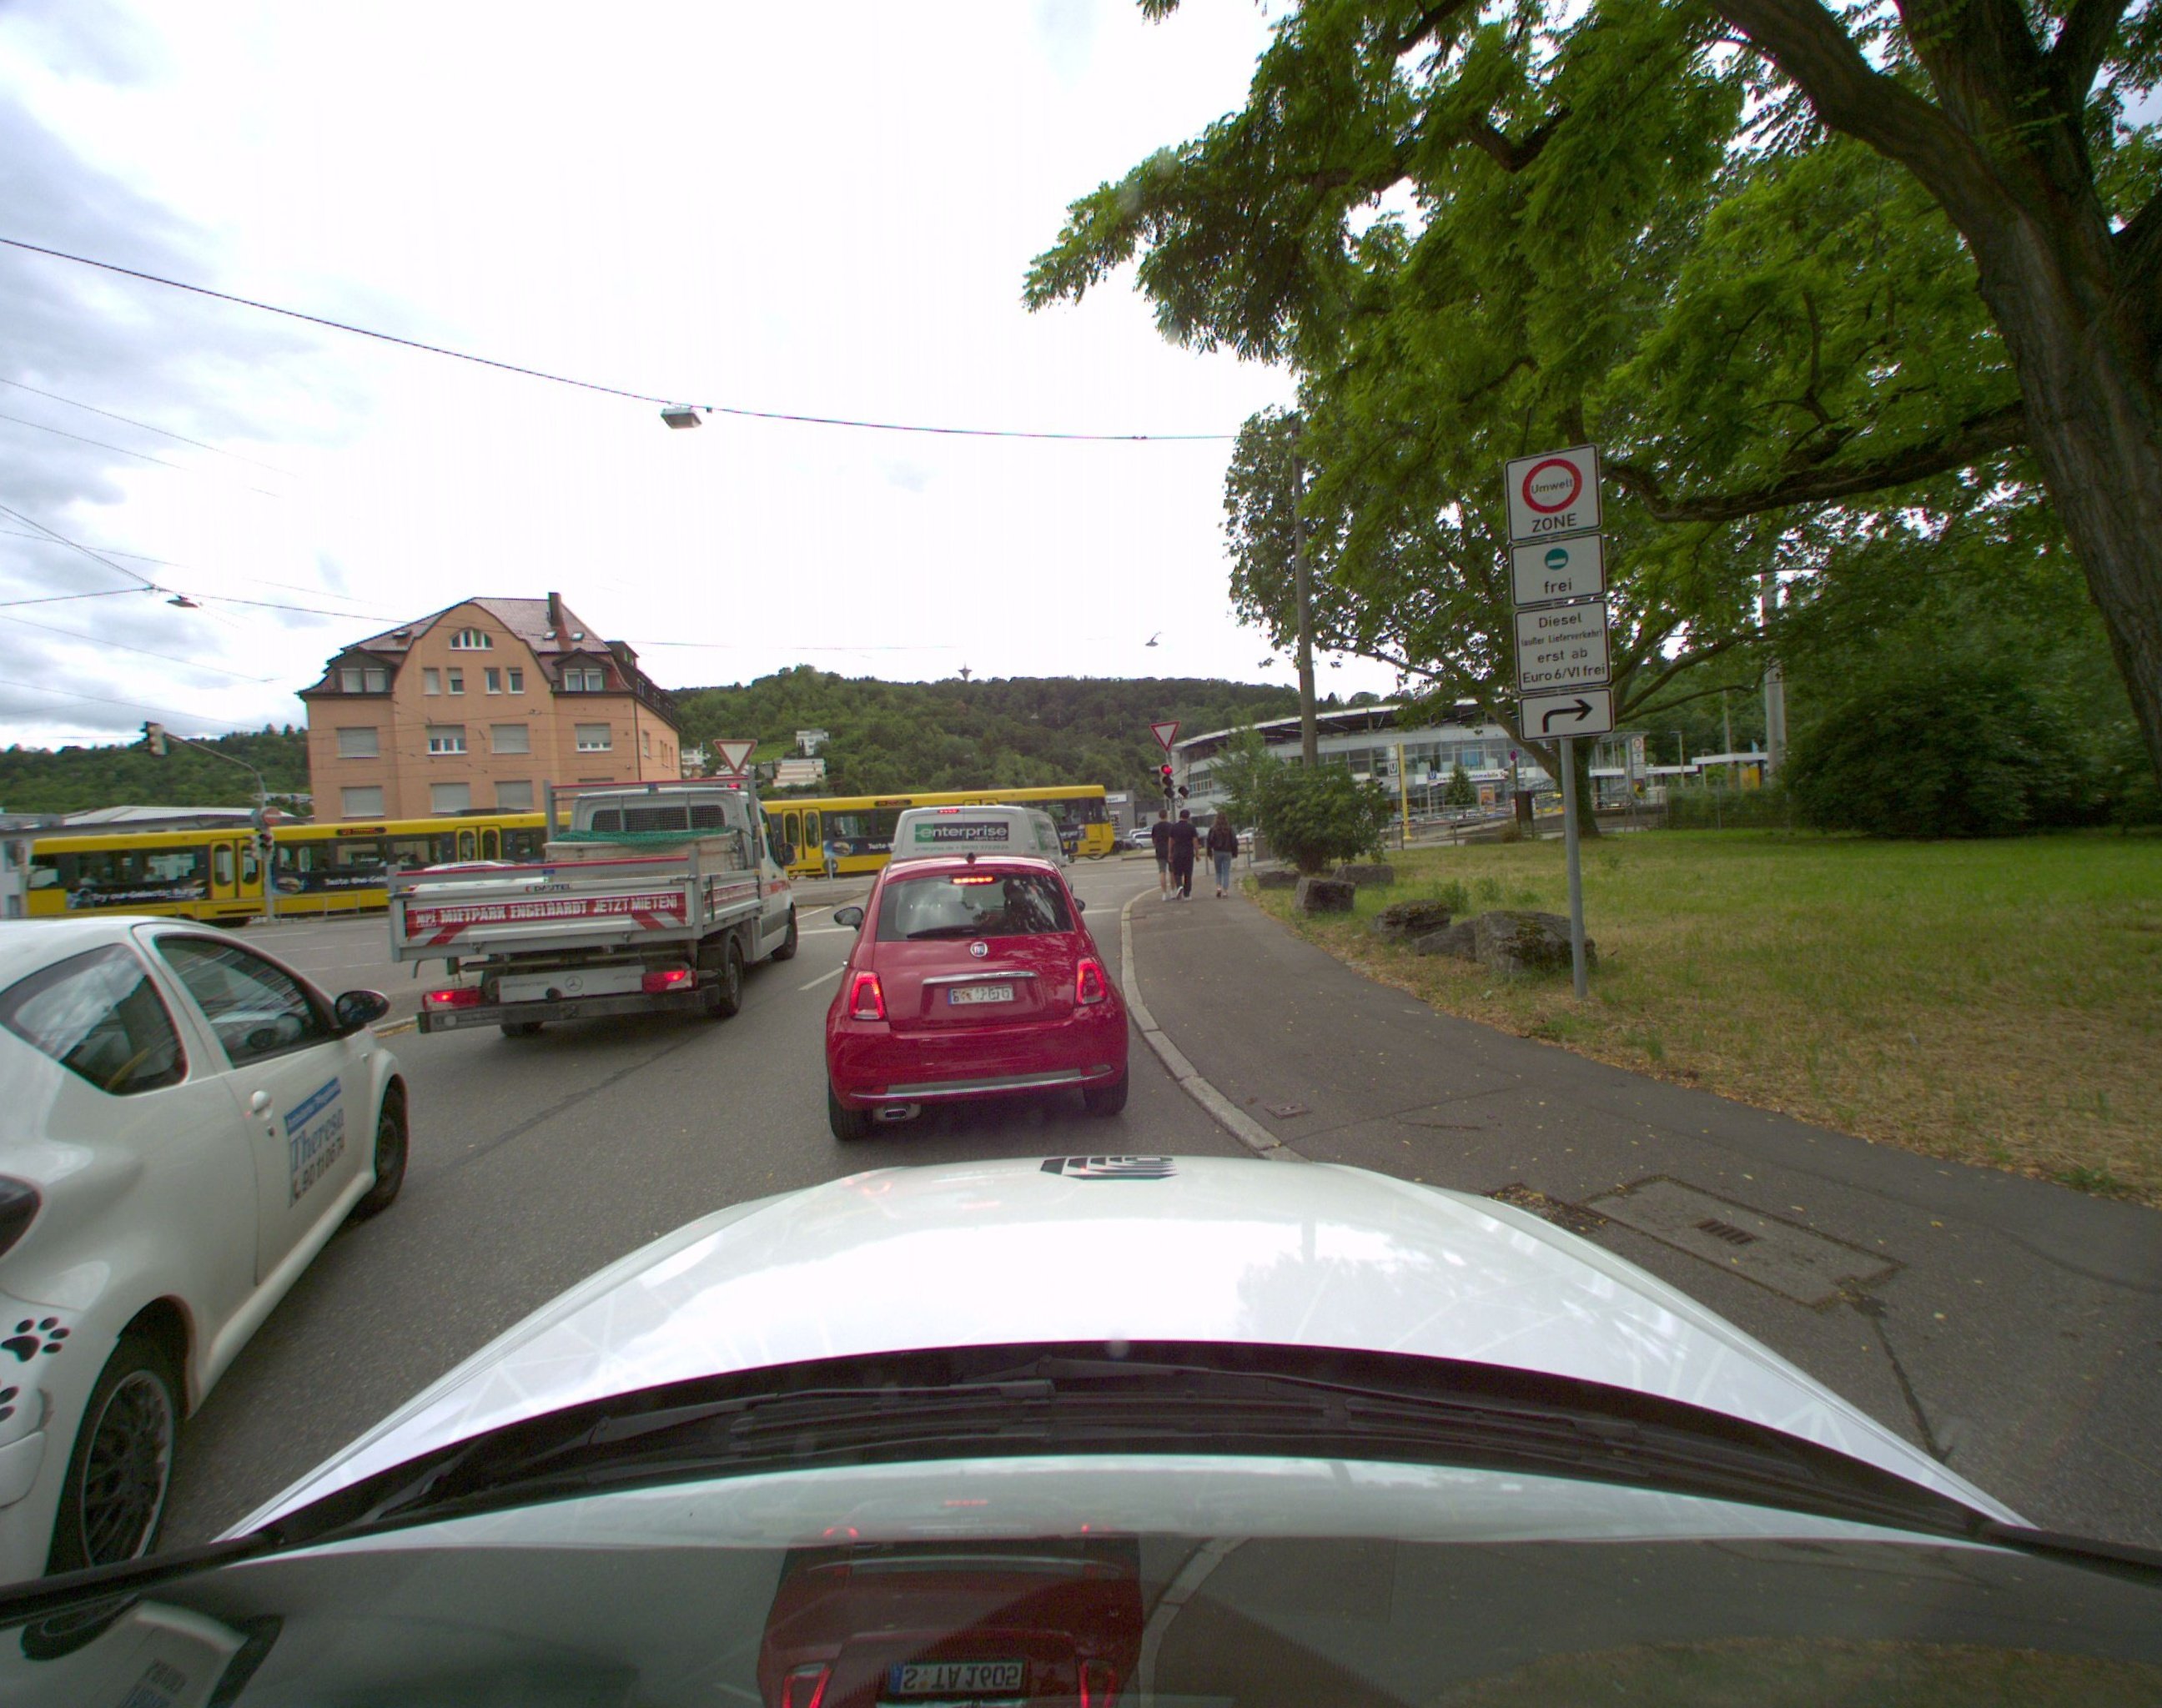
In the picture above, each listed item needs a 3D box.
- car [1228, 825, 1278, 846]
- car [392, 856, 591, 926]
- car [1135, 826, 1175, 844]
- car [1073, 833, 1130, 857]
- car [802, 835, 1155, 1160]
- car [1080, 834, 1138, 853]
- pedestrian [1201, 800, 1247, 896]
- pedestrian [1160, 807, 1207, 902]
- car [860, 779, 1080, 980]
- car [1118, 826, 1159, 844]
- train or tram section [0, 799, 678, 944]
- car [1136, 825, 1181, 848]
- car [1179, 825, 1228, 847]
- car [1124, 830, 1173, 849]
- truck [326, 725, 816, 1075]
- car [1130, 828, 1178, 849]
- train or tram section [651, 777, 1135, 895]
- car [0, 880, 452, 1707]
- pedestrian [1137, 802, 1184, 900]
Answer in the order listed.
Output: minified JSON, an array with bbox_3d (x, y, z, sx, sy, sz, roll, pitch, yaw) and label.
[{"bbox_3d":[14.071,-1.529,66.713,1.781,1.500,3.984,-4,1,-29],"label":"car"},{"bbox_3d":[-16.696,1.010,23.290,4.118,1.584,1.795,-4,1,-13],"label":"car"},{"bbox_3d":[9.194,-2.346,101.124,4.774,1.802,1.778,-4,1,4],"label":"car"},{"bbox_3d":[1.536,-0.699,61.532,3.837,1.500,1.784,-3,1,18],"label":"car"},{"bbox_3d":[-0.732,0.663,5.673,1.638,1.456,3.420,-3,1,-9],"label":"car"},{"bbox_3d":[2.408,-0.947,70.608,4.636,1.327,1.783,-4,1,15],"label":"car"},{"bbox_3d":[2.717,-0.124,15.436,0.688,1.739,0.792,-4,1,15],"label":"pedestrian"},{"bbox_3d":[1.957,-0.002,15.492,0.688,1.714,0.791,-4,1,14],"label":"pedestrian"},{"bbox_3d":[-1.249,0.240,11.450,1.981,2.106,4.767,-4,1,4],"label":"car"},{"bbox_3d":[6.812,-2.240,96.281,4.774,1.802,1.778,-4,1,4],"label":"car"},{"bbox_3d":[-25.795,0.401,30.014,19.133,3.665,3.263,-4,1,-13],"label":"train or tram section"},{"bbox_3d":[8.473,-1.950,89.320,4.774,2.156,2.237,-4,1,4],"label":"car"},{"bbox_3d":[9.721,-1.398,65.033,1.782,1.500,3.843,-4,1,-31],"label":"car"},{"bbox_3d":[6.714,-1.473,81.121,4.774,1.533,1.778,-4,1,4],"label":"car"},{"bbox_3d":[-4.668,0.281,8.997,2.423,2.397,6.006,-4,1,-11],"label":"truck"},{"bbox_3d":[7.575,-1.627,84.483,4.774,1.802,1.778,-4,1,4],"label":"car"},{"bbox_3d":[-7.319,-0.939,34.926,19.159,3.665,3.259,-4,1,-17],"label":"train or tram section"},{"bbox_3d":[-3.302,0.876,2.463,1.649,1.432,3.398,-5,1,-30],"label":"car"},{"bbox_3d":[1.585,-0.072,16.128,0.688,1.857,0.791,-4,1,14],"label":"pedestrian"}]
